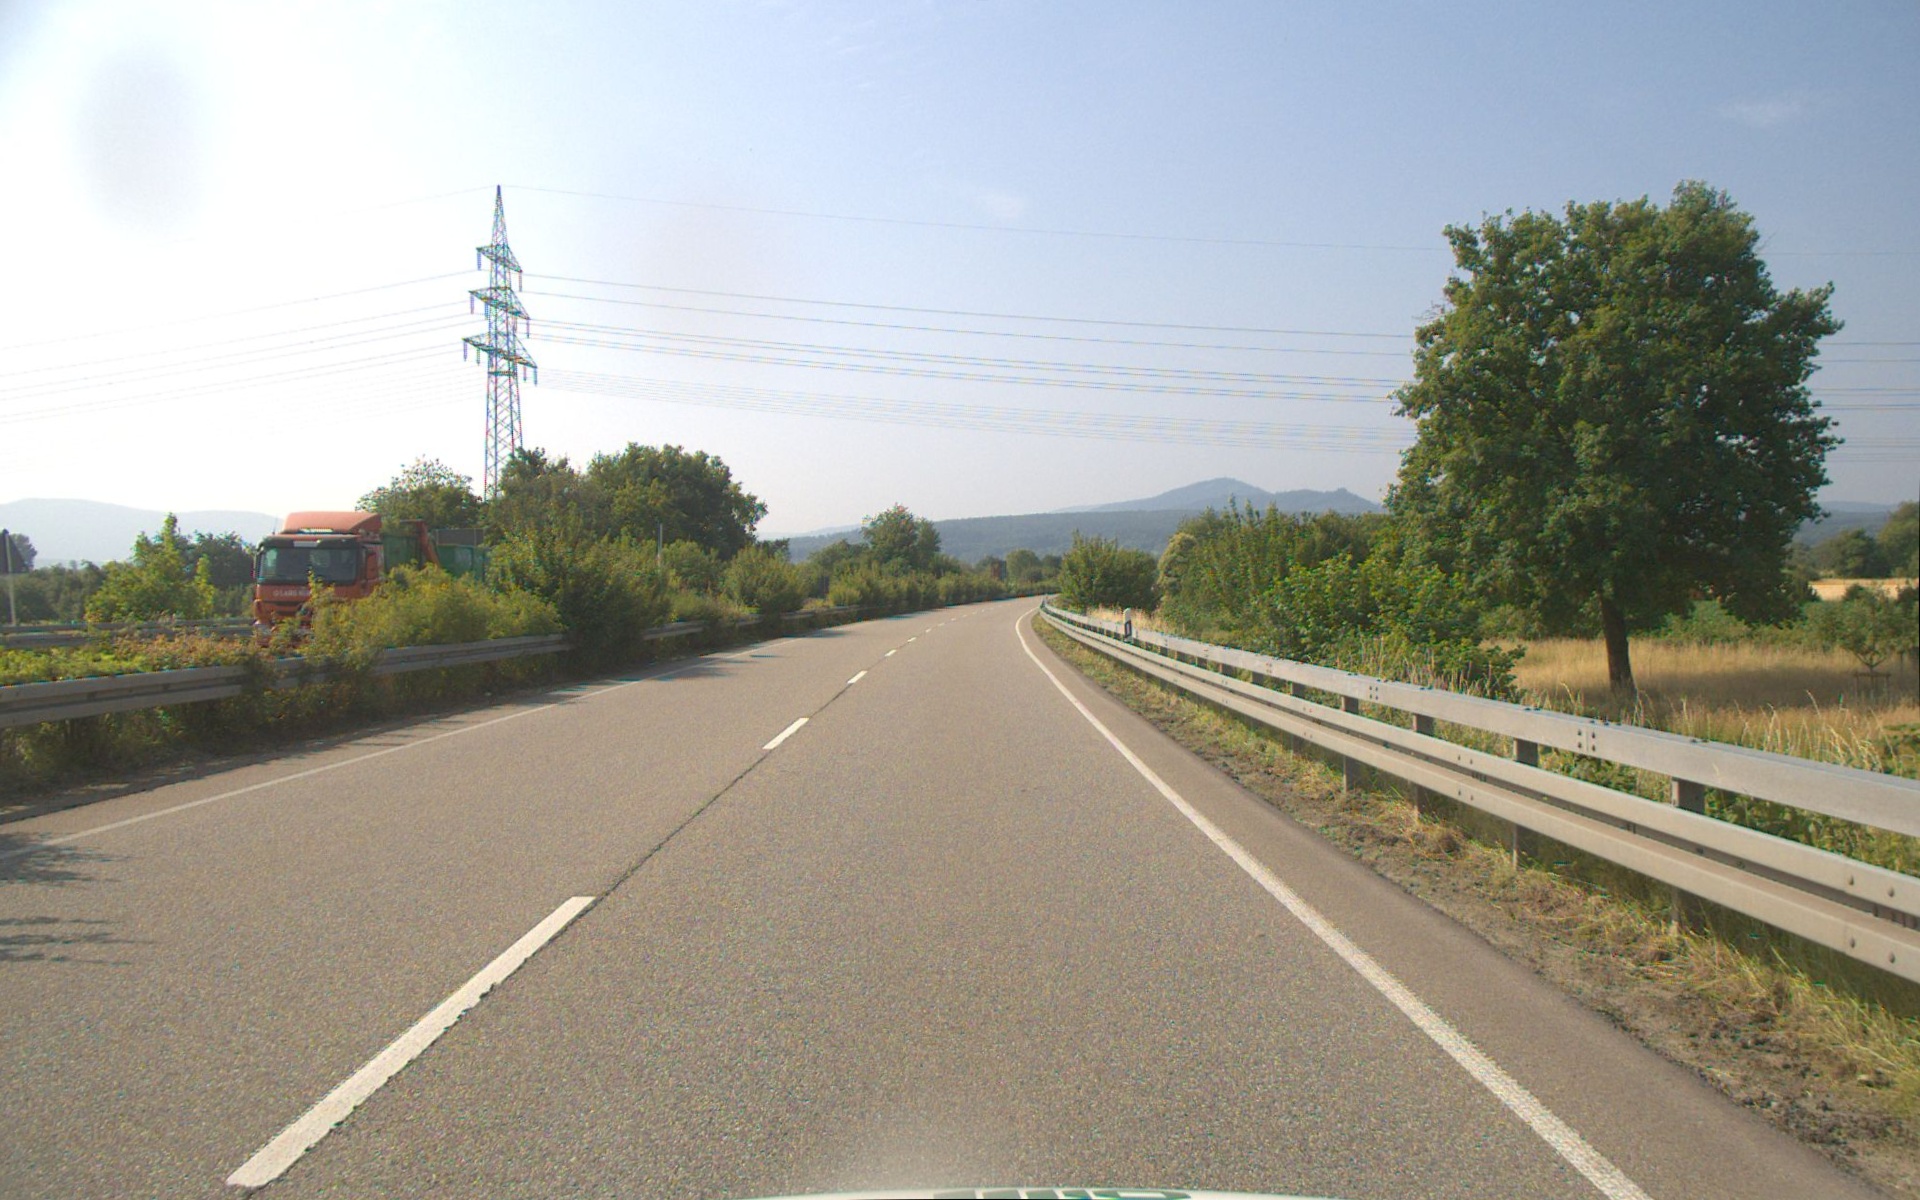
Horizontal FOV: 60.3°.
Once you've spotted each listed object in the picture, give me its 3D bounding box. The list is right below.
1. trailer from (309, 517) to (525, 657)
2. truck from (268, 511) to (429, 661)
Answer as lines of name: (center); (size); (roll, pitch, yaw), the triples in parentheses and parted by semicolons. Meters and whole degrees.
trailer: (-15.090, -0.346, 47.322); (1.953, 3.435, 13.424); (0, 0, -1)
truck: (-14.989, -0.329, 40.901); (1.953, 3.435, 5.627); (0, 0, -1)
